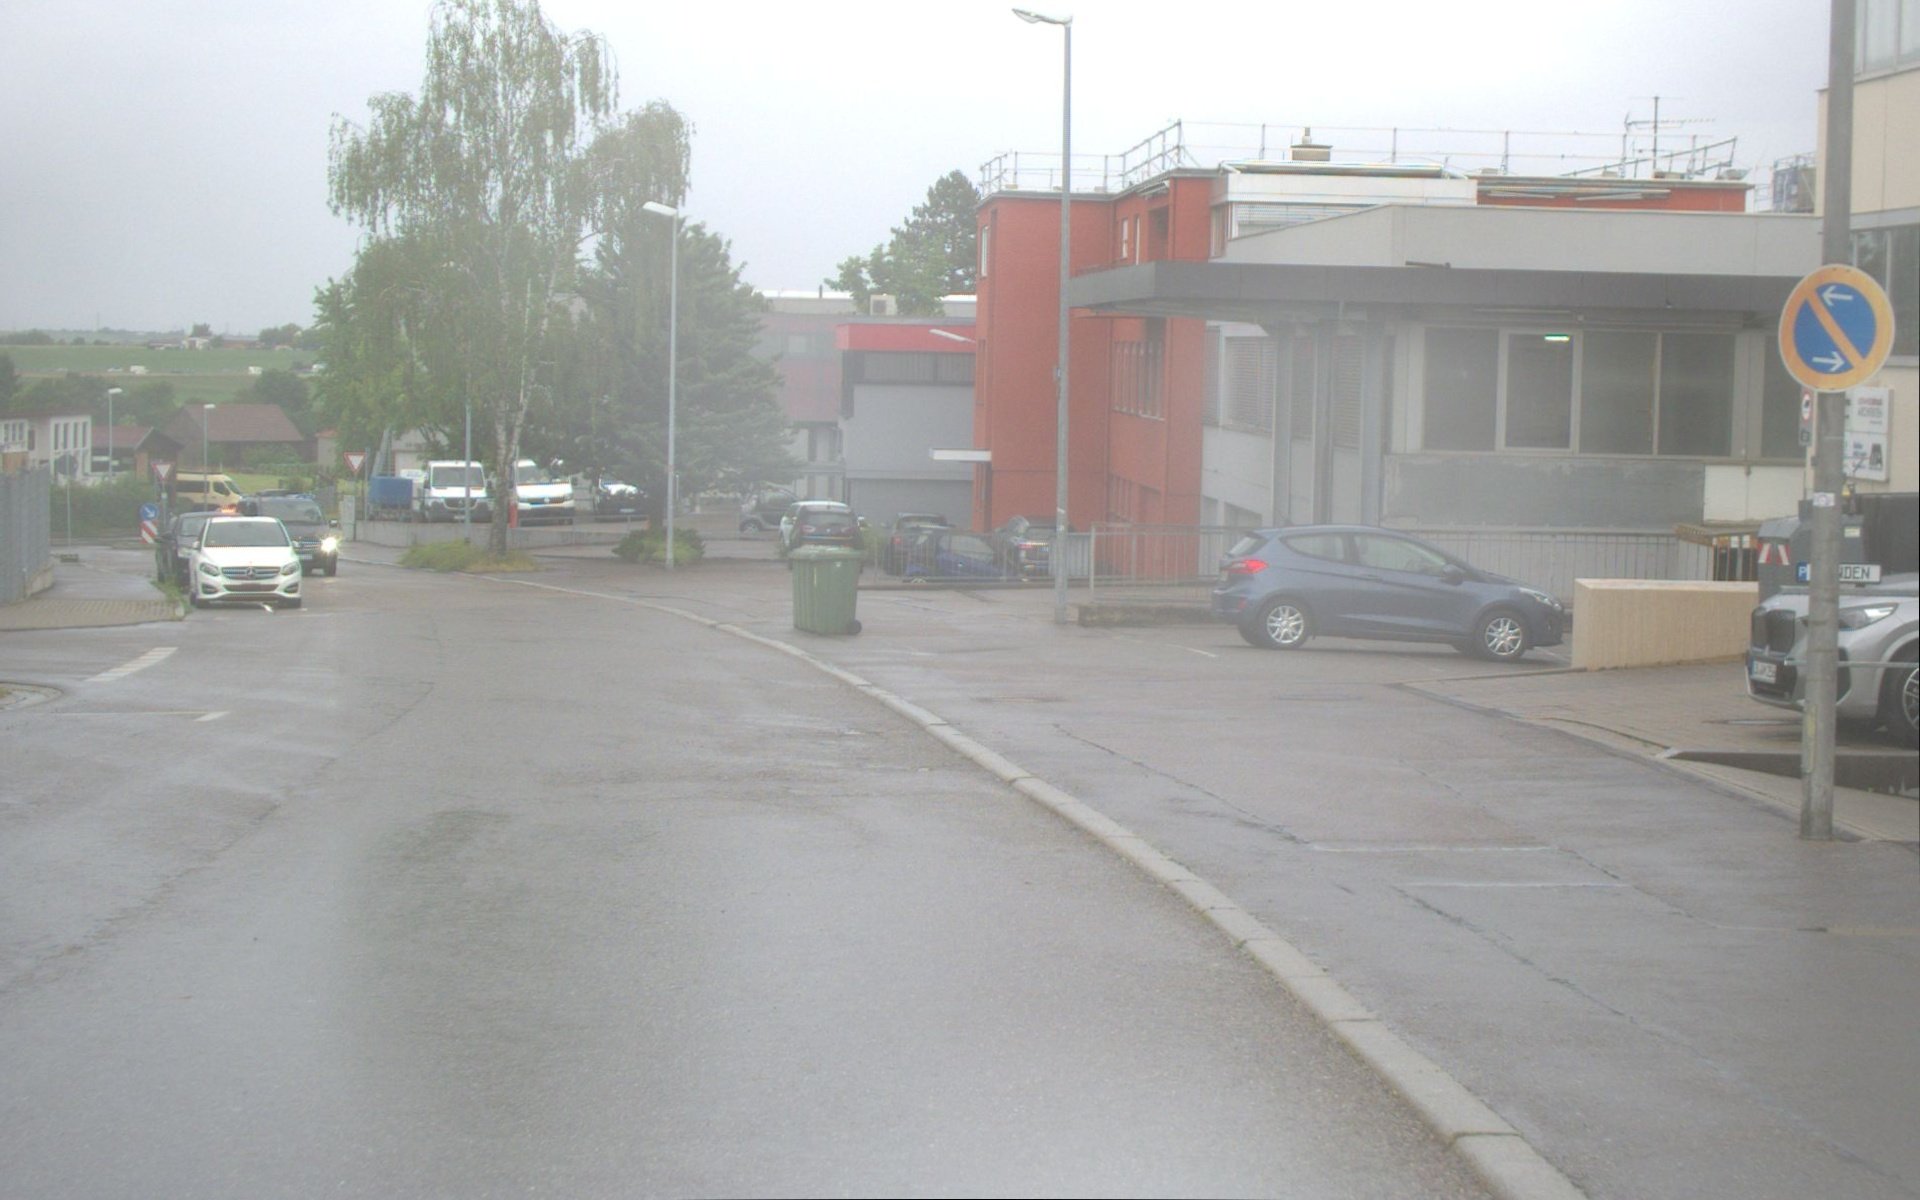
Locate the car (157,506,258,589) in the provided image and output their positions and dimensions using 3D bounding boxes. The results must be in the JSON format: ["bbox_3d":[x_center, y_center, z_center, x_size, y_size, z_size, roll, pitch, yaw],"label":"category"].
[{"bbox_3d":[-15.516,-1.102,70.775,1.699,1.604,4.002,-1,2,-16],"label":"car"}]

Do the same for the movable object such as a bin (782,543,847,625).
[{"bbox_3d":[-1.938,-0.214,45.871,0.801,1.075,0.625,0,1,-9],"label":"movable object such as a bin"}]

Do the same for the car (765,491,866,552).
[{"bbox_3d":[-3.865,-2.064,91.354,2.064,1.547,4.001,0,1,-12],"label":"car"}]

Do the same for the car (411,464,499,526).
[{"bbox_3d":[-17.288,-3.563,117.563,2.264,2.007,4.001,0,1,-19],"label":"car"}]

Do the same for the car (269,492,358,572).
[{"bbox_3d":[-15.677,-1.669,83.517,1.884,1.880,5.073,1,1,-8],"label":"car"}]

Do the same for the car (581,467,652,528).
[{"bbox_3d":[-11.933,-3.547,119.310,2.145,2.007,3.940,0,0,-10],"label":"car"}]

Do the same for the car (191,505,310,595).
[{"bbox_3d":[-12.443,-0.875,60.161,1.769,1.507,4.146,-1,1,-15],"label":"car"}]

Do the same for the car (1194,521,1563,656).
[{"bbox_3d":[4.778,-0.134,39.588,3.894,1.379,1.821,2,0,-4],"label":"car"}]

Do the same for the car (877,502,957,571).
[{"bbox_3d":[-1.078,-1.535,84.538,1.739,1.648,4.001,0,0,-4],"label":"car"}]

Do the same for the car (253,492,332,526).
[{"bbox_3d":[-31.514,-4.276,162.184,2.460,1.534,4.000,0,1,-30],"label":"car"}]

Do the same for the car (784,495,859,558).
[{"bbox_3d":[-3.407,-1.773,83.893,1.697,1.470,4.001,0,0,-4],"label":"car"}]

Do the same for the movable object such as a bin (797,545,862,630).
[{"bbox_3d":[-1.681,-0.163,44.148,0.775,1.072,0.584,0,1,-9],"label":"movable object such as a bin"}]

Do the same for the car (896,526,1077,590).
[{"bbox_3d":[0.488,-0.817,66.280,3.400,1.159,1.792,1,1,-2],"label":"car"}]

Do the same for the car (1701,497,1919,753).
[{"bbox_3d":[7.703,0.123,22.826,5.090,1.608,1.925,0,2,-4],"label":"car"}]

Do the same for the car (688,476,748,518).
[{"bbox_3d":[-8.856,-3.754,125.753,1.636,1.448,3.512,0,1,-13],"label":"car"}]

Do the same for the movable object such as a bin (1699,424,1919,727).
[{"bbox_3d":[7.615,-0.194,24.735,4.254,2.103,1.477,0,1,-3],"label":"movable object such as a bin"}]

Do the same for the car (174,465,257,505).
[{"bbox_3d":[-42.338,-6.524,195.505,4.241,2.218,2.000,0,0,2],"label":"car"}]

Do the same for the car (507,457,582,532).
[{"bbox_3d":[-14.315,-3.599,118.189,2.192,2.451,4.001,0,0,-12],"label":"car"}]

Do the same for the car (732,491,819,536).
[{"bbox_3d":[-5.679,-2.663,105.897,2.547,1.347,1.242,1,1,-9],"label":"car"}]

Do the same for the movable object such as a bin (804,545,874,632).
[{"bbox_3d":[-1.538,-0.152,43.508,0.806,1.089,0.709,0,1,-9],"label":"movable object such as a bin"}]

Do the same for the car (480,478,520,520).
[{"bbox_3d":[-16.557,-3.626,123.655,1.290,1.419,2.547,0,0,-10],"label":"car"}]

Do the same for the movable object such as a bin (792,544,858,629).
[{"bbox_3d":[-1.755,-0.179,44.719,0.809,1.087,0.542,0,1,-9],"label":"movable object such as a bin"}]

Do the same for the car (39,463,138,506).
[{"bbox_3d":[-39.031,-5.158,154.000,3.986,1.875,2.000,1,1,-3],"label":"car"}]

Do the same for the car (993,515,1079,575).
[{"bbox_3d":[1.841,-1.337,83.986,1.728,1.417,4.001,0,1,-4],"label":"car"}]

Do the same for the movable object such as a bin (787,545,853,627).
[{"bbox_3d":[-1.843,-0.189,45.273,0.808,1.073,0.582,0,1,-9],"label":"movable object such as a bin"}]

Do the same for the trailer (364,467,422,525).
[{"bbox_3d":[-20.050,-3.669,121.401,1.852,2.007,4.001,0,1,-11],"label":"trailer"}]
